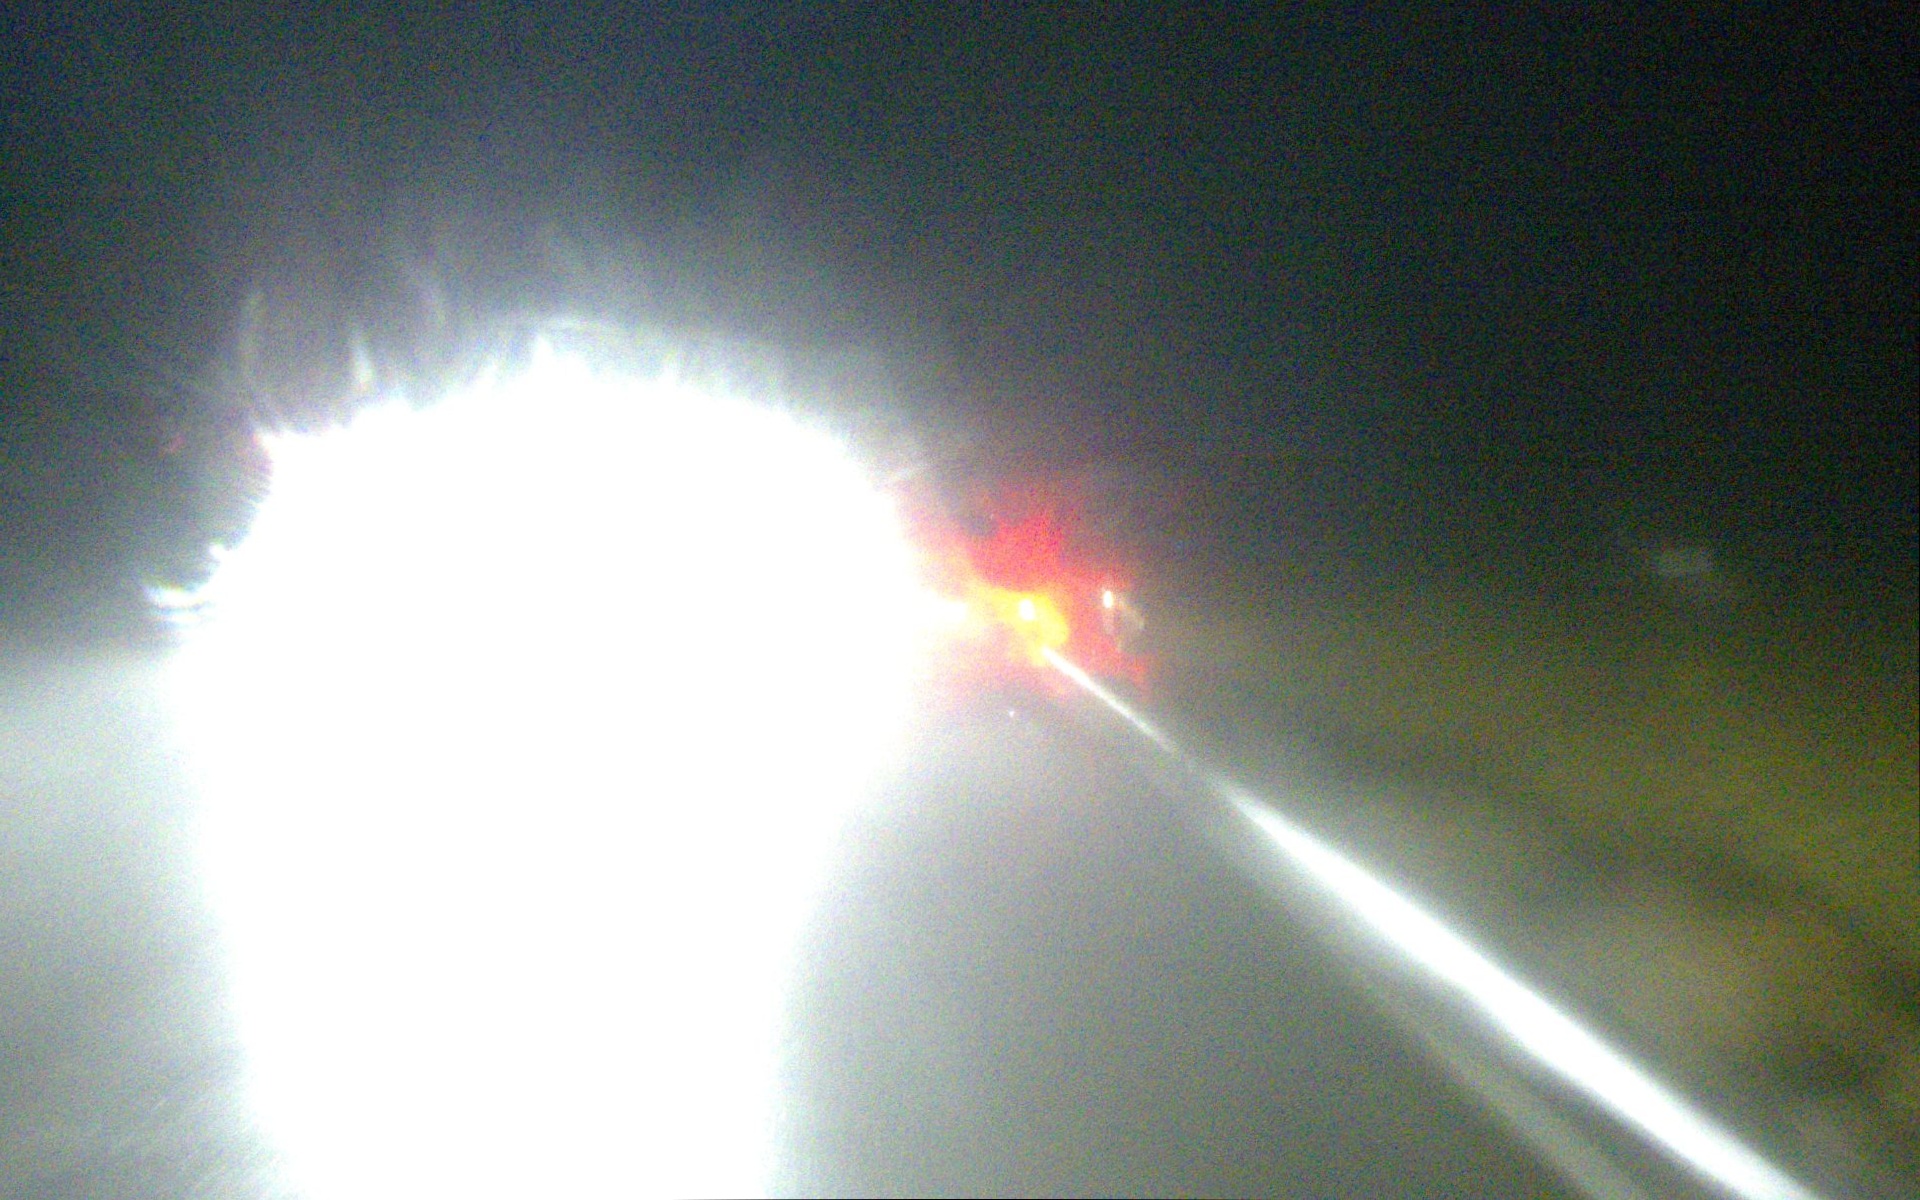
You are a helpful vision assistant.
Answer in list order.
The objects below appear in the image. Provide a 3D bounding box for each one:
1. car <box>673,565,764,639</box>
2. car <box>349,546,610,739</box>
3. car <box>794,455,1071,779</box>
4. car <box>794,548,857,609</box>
[{"bbox_3d":[-5.242,0.019,74.920,1.772,1.505,3.690,-1,1,-1],"label":"car"},{"bbox_3d":[-4.370,0.336,31.847,1.859,1.632,4.143,-1,1,-1],"label":"car"},{"bbox_3d":[-0.259,0.045,29.858,2.181,2.548,4.508,1,3,-1],"label":"car"},{"bbox_3d":[-4.793,-0.769,122.909,1.993,2.007,4.000,-5,1,-1],"label":"car"}]
